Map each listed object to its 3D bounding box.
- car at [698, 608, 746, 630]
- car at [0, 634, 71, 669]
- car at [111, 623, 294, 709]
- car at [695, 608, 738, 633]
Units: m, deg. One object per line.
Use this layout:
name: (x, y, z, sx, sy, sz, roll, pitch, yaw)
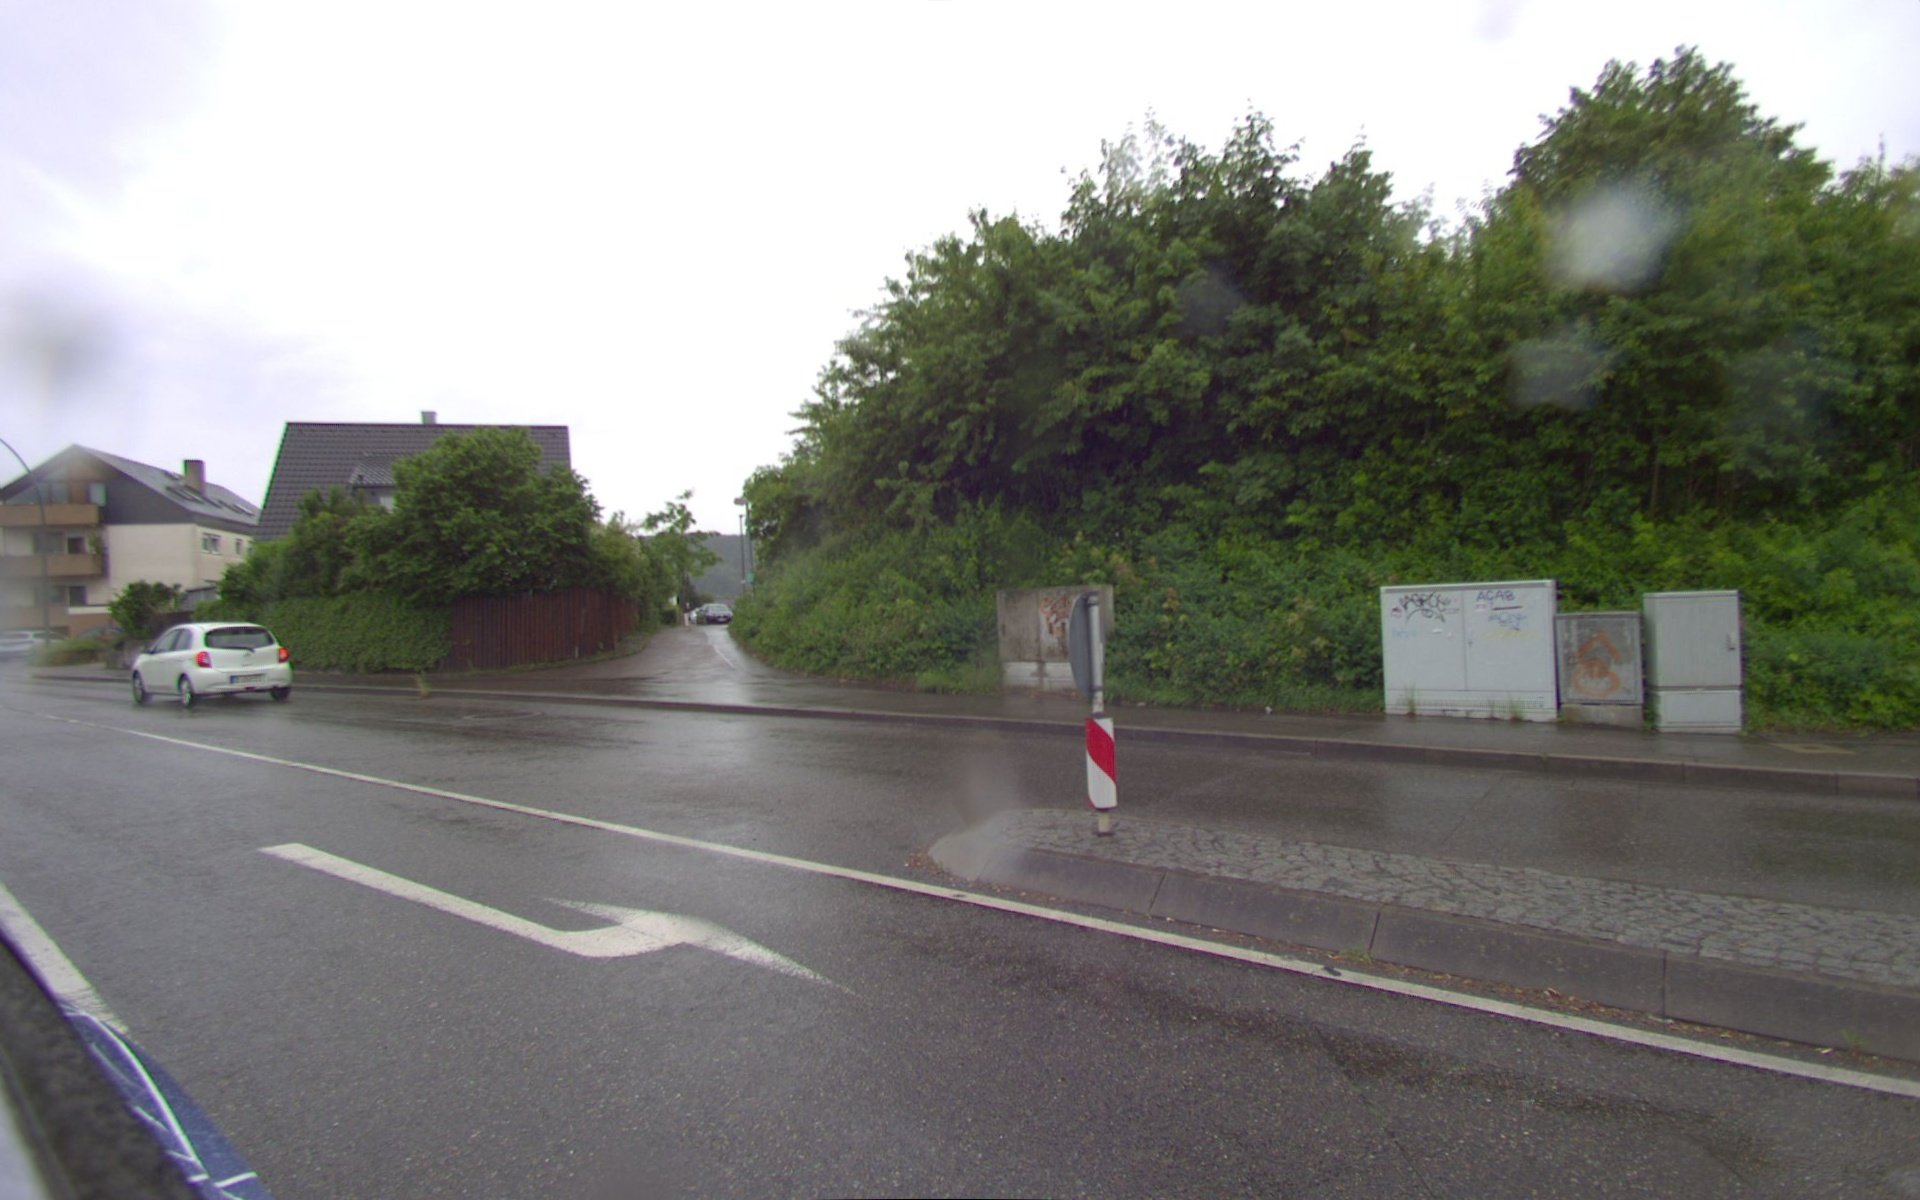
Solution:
car: (-17.285, 1.342, 73.392, 1.967, 1.497, 4.009, -1, 0, -37)
car: (-46.714, 2.540, 50.754, 1.638, 1.558, 4.011, -1, 0, -15)
car: (-14.624, 1.219, 19.505, 3.811, 1.516, 1.607, -2, -2, 33)
car: (-15.893, 1.345, 65.883, 1.867, 1.494, 4.013, -1, -1, -26)
